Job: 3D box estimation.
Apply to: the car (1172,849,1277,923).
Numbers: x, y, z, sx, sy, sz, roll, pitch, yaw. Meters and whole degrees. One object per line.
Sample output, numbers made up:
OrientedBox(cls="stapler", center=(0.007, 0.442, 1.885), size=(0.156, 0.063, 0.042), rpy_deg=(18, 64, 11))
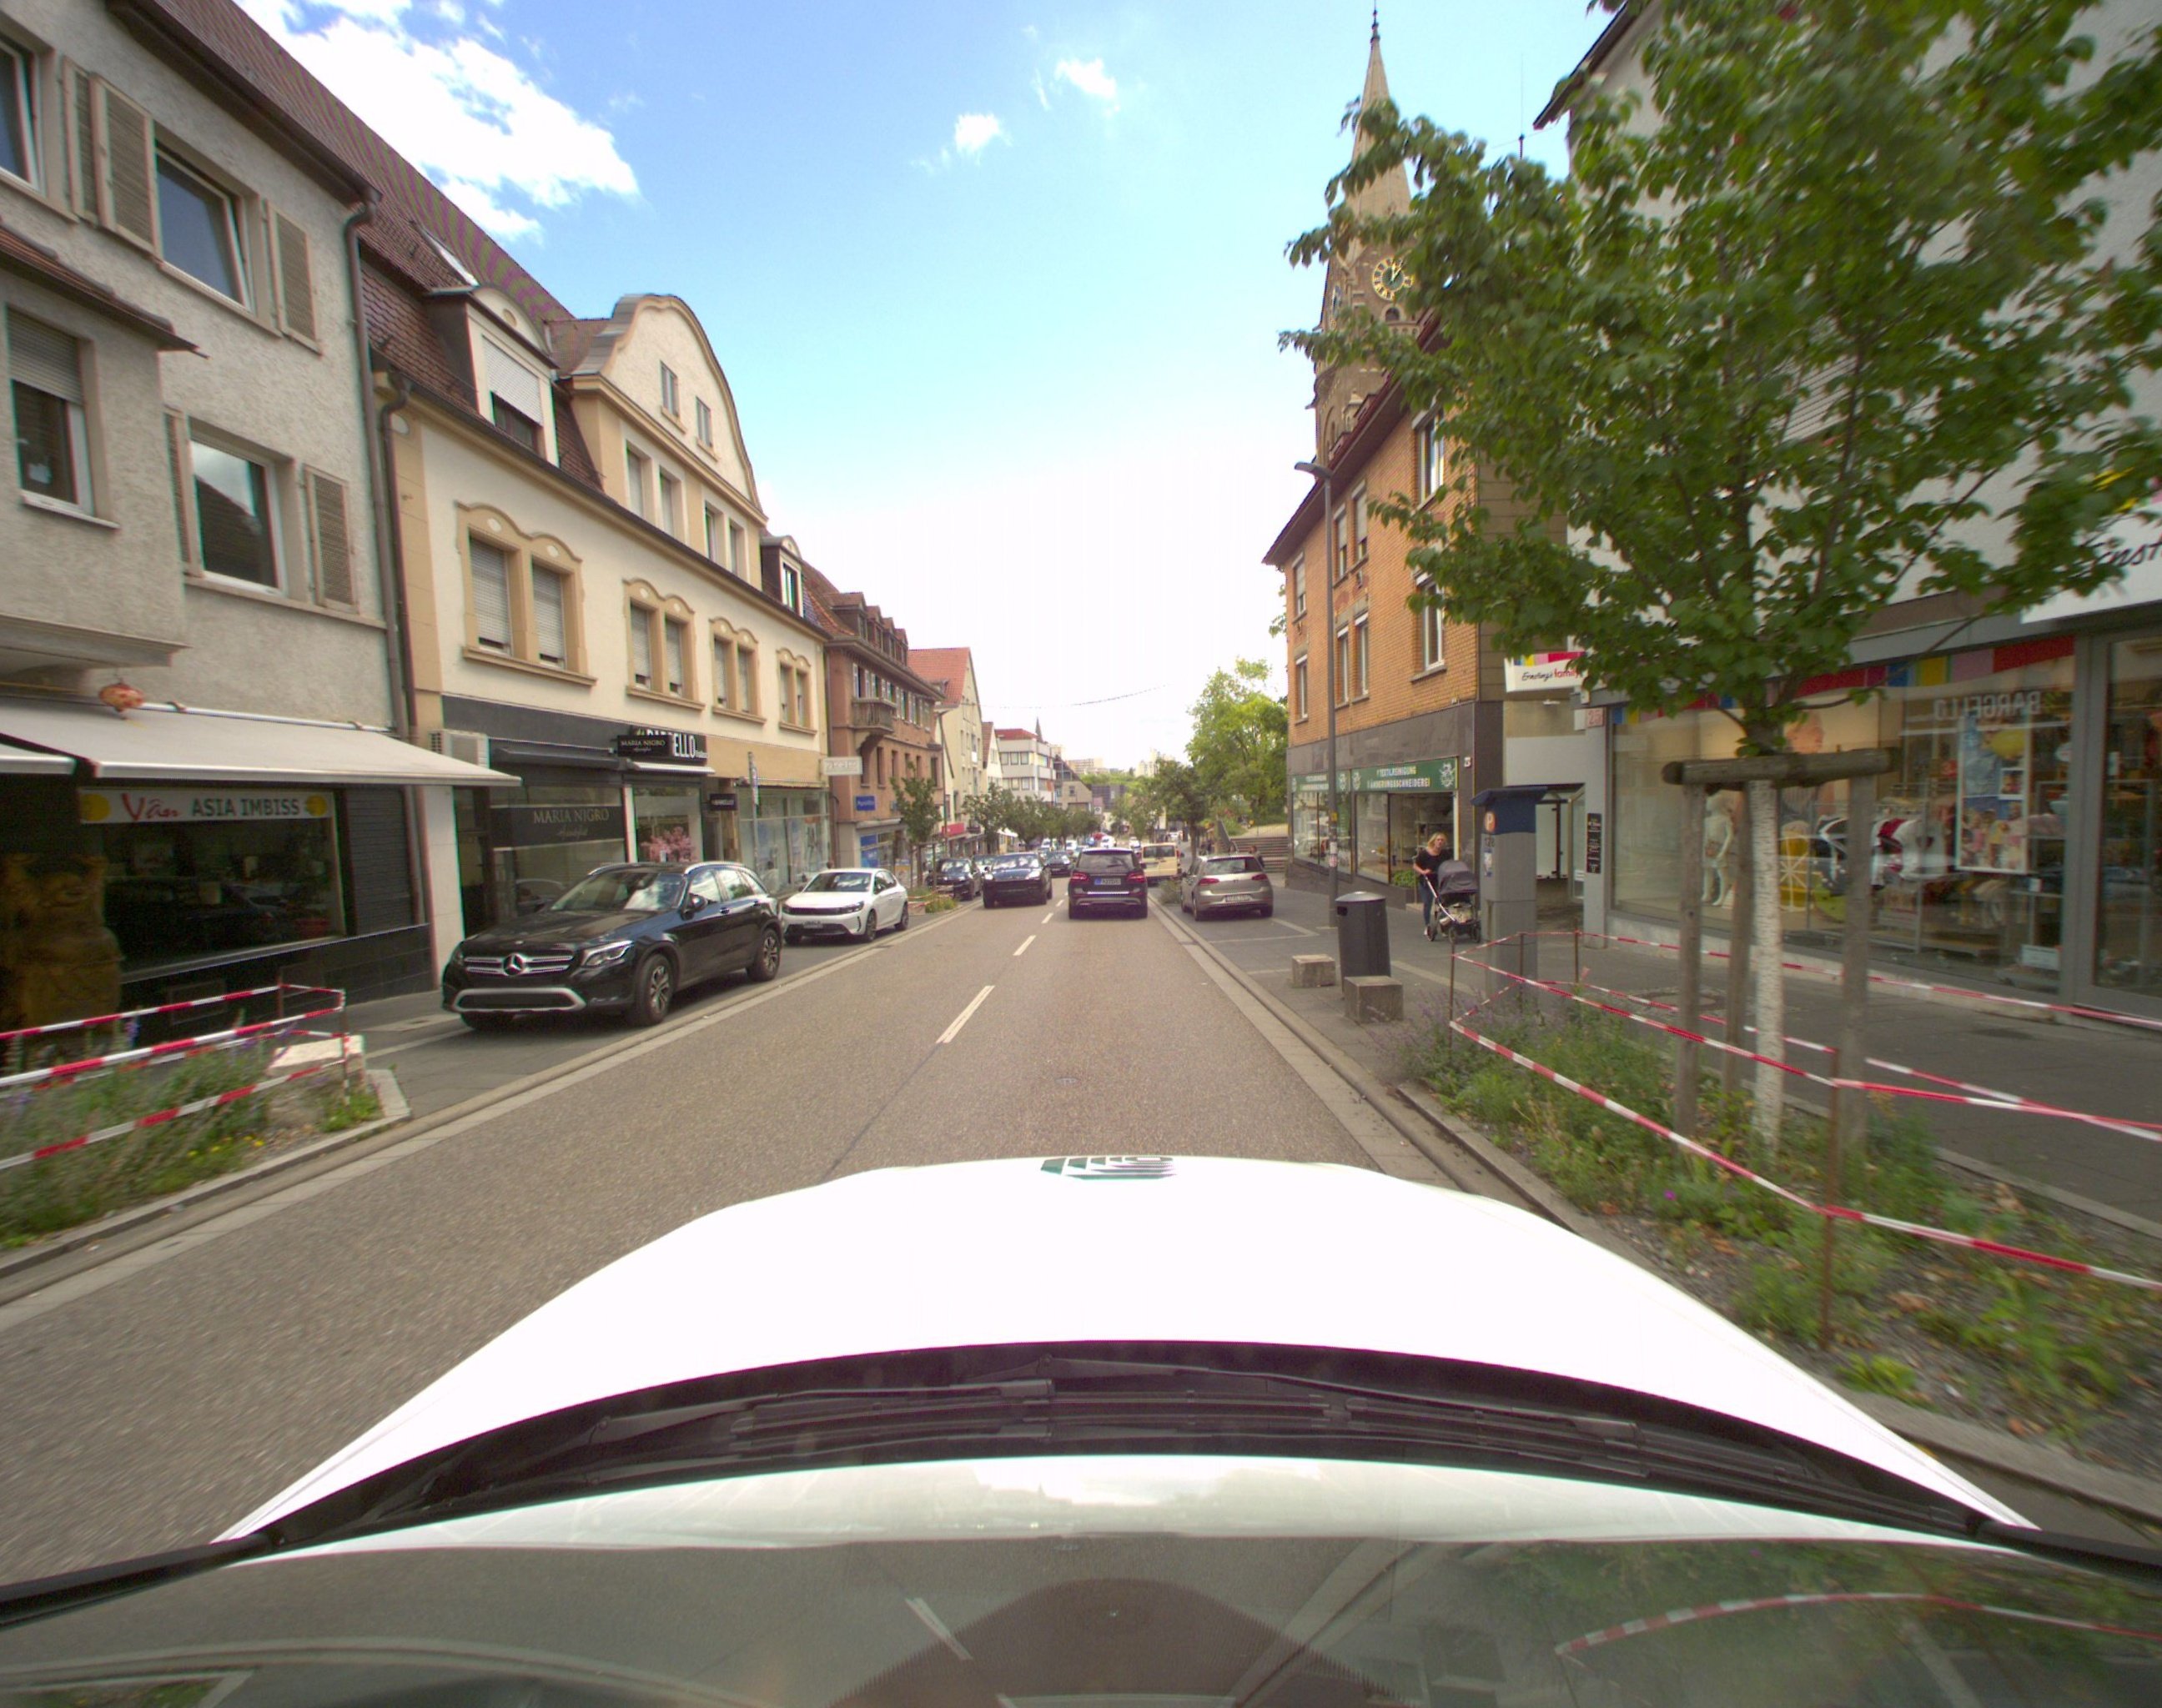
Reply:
OrientedBox(cls="car", center=(3.310, 0.678, 19.507), size=(1.742, 1.465, 4.075), rpy_deg=(-4, 0, 1))

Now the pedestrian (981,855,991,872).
OrientedBox(cls="pedestrian", center=(-7.378, 0.725, 63.230), size=(0.684, 1.281, 0.676), rpy_deg=(-2, 0, 0))

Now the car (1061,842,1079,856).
OrientedBox(cls="car", center=(-1.273, -0.632, 95.639), size=(1.919, 1.628, 4.264), rpy_deg=(0, 1, 2))

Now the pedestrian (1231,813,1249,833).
OrientedBox(cls="pedestrian", center=(10.341, -2.005, 52.978), size=(0.986, 1.231, 0.984), rpy_deg=(-2, 0, 3))

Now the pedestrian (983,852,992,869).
OrientedBox(cls="pedestrian", center=(-7.387, 0.507, 64.593), size=(0.563, 1.281, 0.759), rpy_deg=(-1, 0, 1))

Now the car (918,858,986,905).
OrientedBox(cls="car", center=(-4.779, 0.973, 30.786), size=(1.921, 1.496, 4.260), rpy_deg=(-2, 1, -1))

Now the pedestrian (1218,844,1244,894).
OrientedBox(cls="pedestrian", center=(5.141, 0.511, 27.984), size=(0.670, 1.632, 0.669), rpy_deg=(-4, 0, -1))

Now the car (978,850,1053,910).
OrientedBox(cls="car", center=(-2.050, 0.781, 26.859), size=(1.985, 1.718, 4.447), rpy_deg=(-3, 0, 0))

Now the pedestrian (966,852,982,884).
OrientedBox(cls="pedestrian", center=(-5.745, 0.753, 43.766), size=(0.725, 1.667, 0.720), rpy_deg=(-1, 0, 0))

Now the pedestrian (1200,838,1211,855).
OrientedBox(cls="pedestrian", center=(14.153, -0.858, 92.673), size=(1.044, 1.913, 0.939), rpy_deg=(-4, 0, 8))

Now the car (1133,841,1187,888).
OrientedBox(cls="car", center=(3.493, 0.403, 36.862), size=(1.931, 1.891, 4.708), rpy_deg=(-4, 1, 1))

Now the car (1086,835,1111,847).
OrientedBox(cls="car", center=(3.145, -2.294, 145.956), size=(4.143, 2.029, 1.799), rpy_deg=(-2, 0, 35))

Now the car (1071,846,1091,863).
OrientedBox(cls="car", center=(0.027, 0.037, 79.944), size=(1.806, 1.508, 4.001), rpy_deg=(-2, 0, 1))

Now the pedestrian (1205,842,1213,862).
OrientedBox(cls="pedestrian", center=(10.213, -0.145, 65.067), size=(0.565, 1.586, 0.668), rpy_deg=(-2, 0, 10))

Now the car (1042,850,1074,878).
OrientedBox(cls="car", center=(-1.391, 0.578, 50.323), size=(1.758, 1.617, 4.033), rpy_deg=(-2, 0, 1))

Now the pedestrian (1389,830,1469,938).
OrientedBox(cls="pedestrian", center=(5.489, 0.458, 12.895), size=(0.733, 1.585, 1.000), rpy_deg=(-4, 0, 0))

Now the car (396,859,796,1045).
OrientedBox(cls="car", center=(-5.169, 0.895, 9.641), size=(1.920, 1.621, 4.639), rpy_deg=(0, 0, 0))

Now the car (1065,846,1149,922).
OrientedBox(cls="car", center=(0.676, 0.668, 20.945), size=(1.936, 1.740, 4.181), rpy_deg=(0, 1, 2))

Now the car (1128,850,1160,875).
OrientedBox(cls="car", center=(4.154, 0.521, 54.587), size=(1.930, 1.457, 4.710), rpy_deg=(-2, 1, 2))

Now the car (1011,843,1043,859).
OrientedBox(cls="car", center=(-6.996, -0.430, 106.058), size=(3.977, 1.749, 1.998), rpy_deg=(-4, 0, -3))

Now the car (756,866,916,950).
OrientedBox(cls="car", center=(-4.981, 1.027, 17.243), size=(1.919, 1.430, 4.265), rpy_deg=(-1, 1, 2))

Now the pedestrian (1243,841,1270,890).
OrientedBox(cls="pedestrian", center=(6.070, 0.395, 28.141), size=(0.670, 1.632, 0.669), rpy_deg=(-4, 0, -1))

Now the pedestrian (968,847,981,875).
OrientedBox(cls="pedestrian", center=(-6.396, 0.411, 48.850), size=(0.639, 1.667, 0.720), rpy_deg=(-1, 0, 0))

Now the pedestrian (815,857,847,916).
OrientedBox(cls="pedestrian", center=(-7.073, 0.906, 23.035), size=(0.545, 1.575, 0.863), rpy_deg=(-3, 1, 1))

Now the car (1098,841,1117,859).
OrientedBox(cls="car", center=(3.517, -0.556, 108.822), size=(2.163, 2.364, 4.630), rpy_deg=(-2, 0, 6))

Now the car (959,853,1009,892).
OrientedBox(cls="car", center=(-4.470, 0.814, 38.180), size=(1.921, 1.595, 4.455), rpy_deg=(0, 1, -2))

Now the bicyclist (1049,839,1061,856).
OrientedBox(cls="bicyclist", center=(-2.628, -0.631, 82.202), size=(0.967, 1.609, 0.724), rpy_deg=(-4, 0, -25))

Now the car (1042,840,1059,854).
OrientedBox(cls="car", center=(-3.704, -0.860, 98.651), size=(1.920, 1.628, 4.414), rpy_deg=(0, 1, 0))

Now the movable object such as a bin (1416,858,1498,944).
OrientedBox(cls="movable object such as a bin", center=(5.511, 0.665, 11.982), size=(0.719, 1.158, 0.907), rpy_deg=(-4, 0, 0))
